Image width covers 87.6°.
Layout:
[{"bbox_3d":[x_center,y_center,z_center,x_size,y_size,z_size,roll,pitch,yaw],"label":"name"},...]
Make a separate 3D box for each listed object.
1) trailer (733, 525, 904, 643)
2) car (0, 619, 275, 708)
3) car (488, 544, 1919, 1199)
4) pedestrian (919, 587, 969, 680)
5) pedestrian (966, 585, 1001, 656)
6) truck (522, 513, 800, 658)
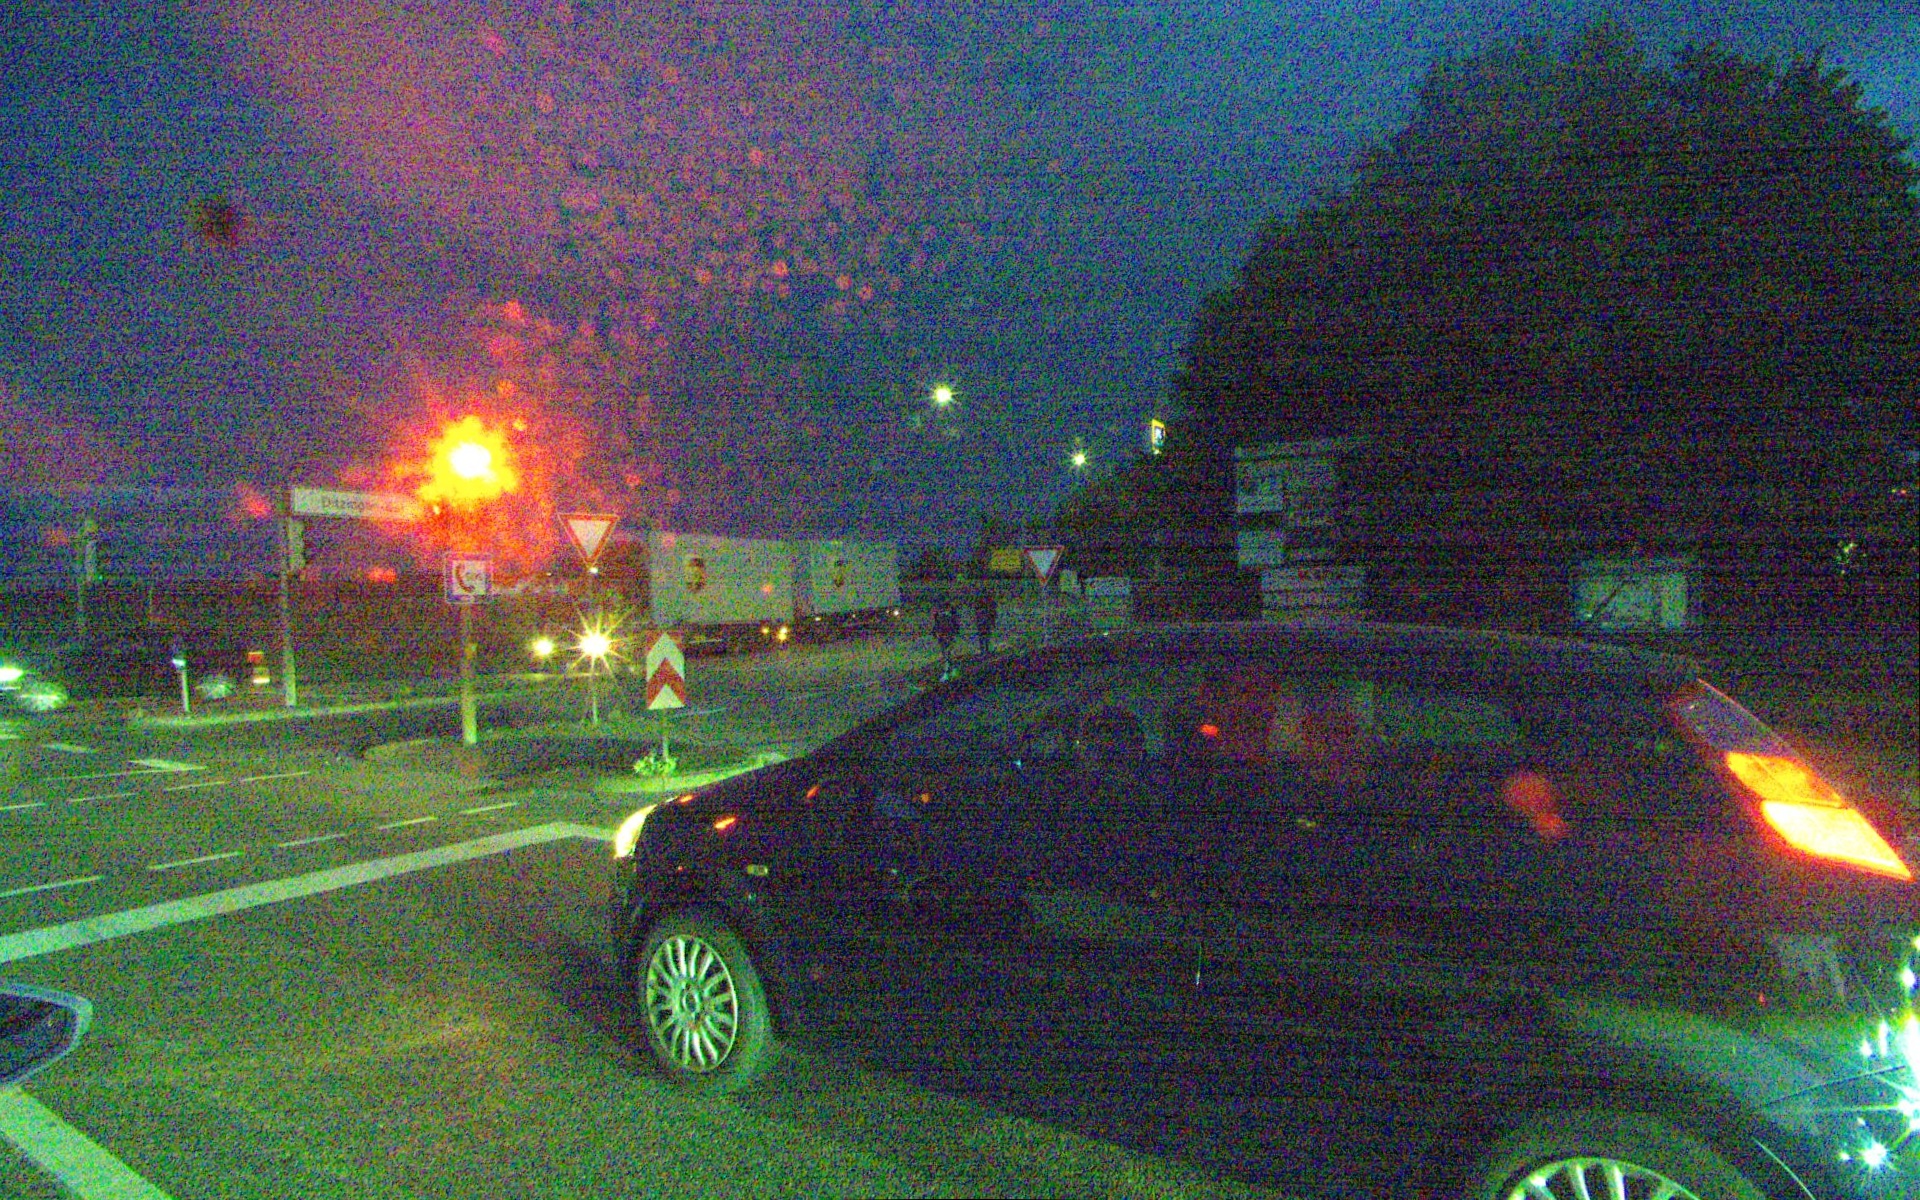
[{"bbox_3d":[-5.576,-0.577,41.746,2.875,4.359,9.049,-1,0,22],"label":"trailer"},{"bbox_3d":[-16.367,1.160,19.510,1.970,1.540,4.597,0,-2,29],"label":"car"},{"bbox_3d":[0.381,0.726,3.282,4.049,1.540,1.666,-1,-1,34],"label":"car"},{"bbox_3d":[-0.317,0.685,20.898,0.861,1.859,0.731,-3,1,6],"label":"pedestrian"},{"bbox_3d":[0.642,0.552,27.293,0.860,1.925,0.660,-1,1,6],"label":"pedestrian"},{"bbox_3d":[-9.328,-0.386,33.096,2.877,4.032,10.039,-1,0,24],"label":"truck"}]
